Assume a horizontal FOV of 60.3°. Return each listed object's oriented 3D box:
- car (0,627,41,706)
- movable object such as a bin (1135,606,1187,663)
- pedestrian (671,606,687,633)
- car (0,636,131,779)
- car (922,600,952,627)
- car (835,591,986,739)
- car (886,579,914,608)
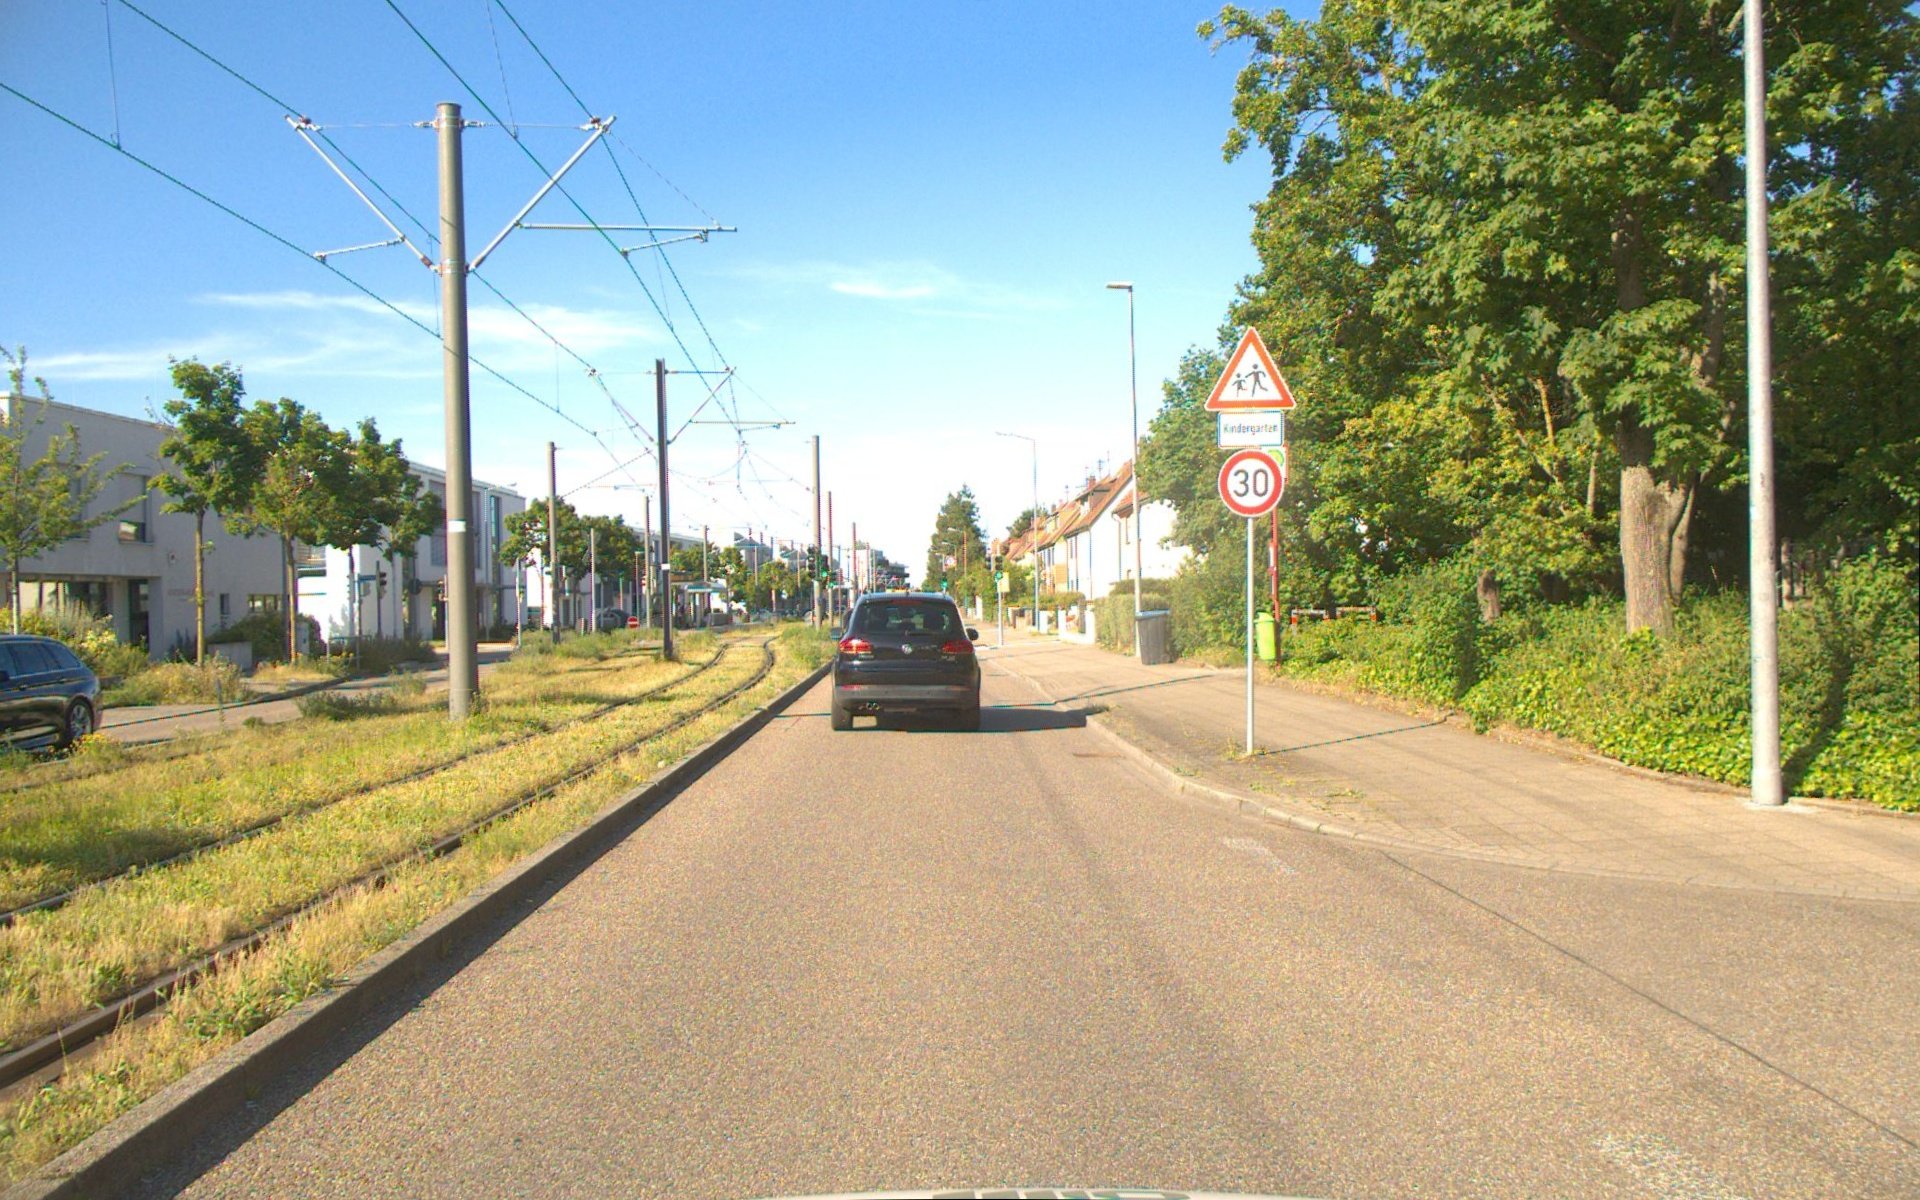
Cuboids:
[{"bbox_3d":[-19.095,1.265,30.450,1.772,1.486,4.319,0,0,3],"label":"car"},{"bbox_3d":[4.207,0.708,34.723,0.955,1.130,1.170,-2,0,2],"label":"movable object such as a bin"},{"bbox_3d":[-17.541,1.211,103.116,0.868,1.614,0.624,-1,0,-20],"label":"pedestrian"},{"bbox_3d":[-11.179,1.230,18.238,1.727,1.469,4.914,-3,0,-3],"label":"car"},{"bbox_3d":[-1.526,0.848,108.370,1.740,1.699,3.997,-2,0,-3],"label":"car"},{"bbox_3d":[-0.688,0.753,21.164,1.740,1.699,3.997,0,0,-3],"label":"car"},{"bbox_3d":[-5.716,-0.606,158.331,2.345,2.609,5.529,-2,0,0],"label":"car"}]
